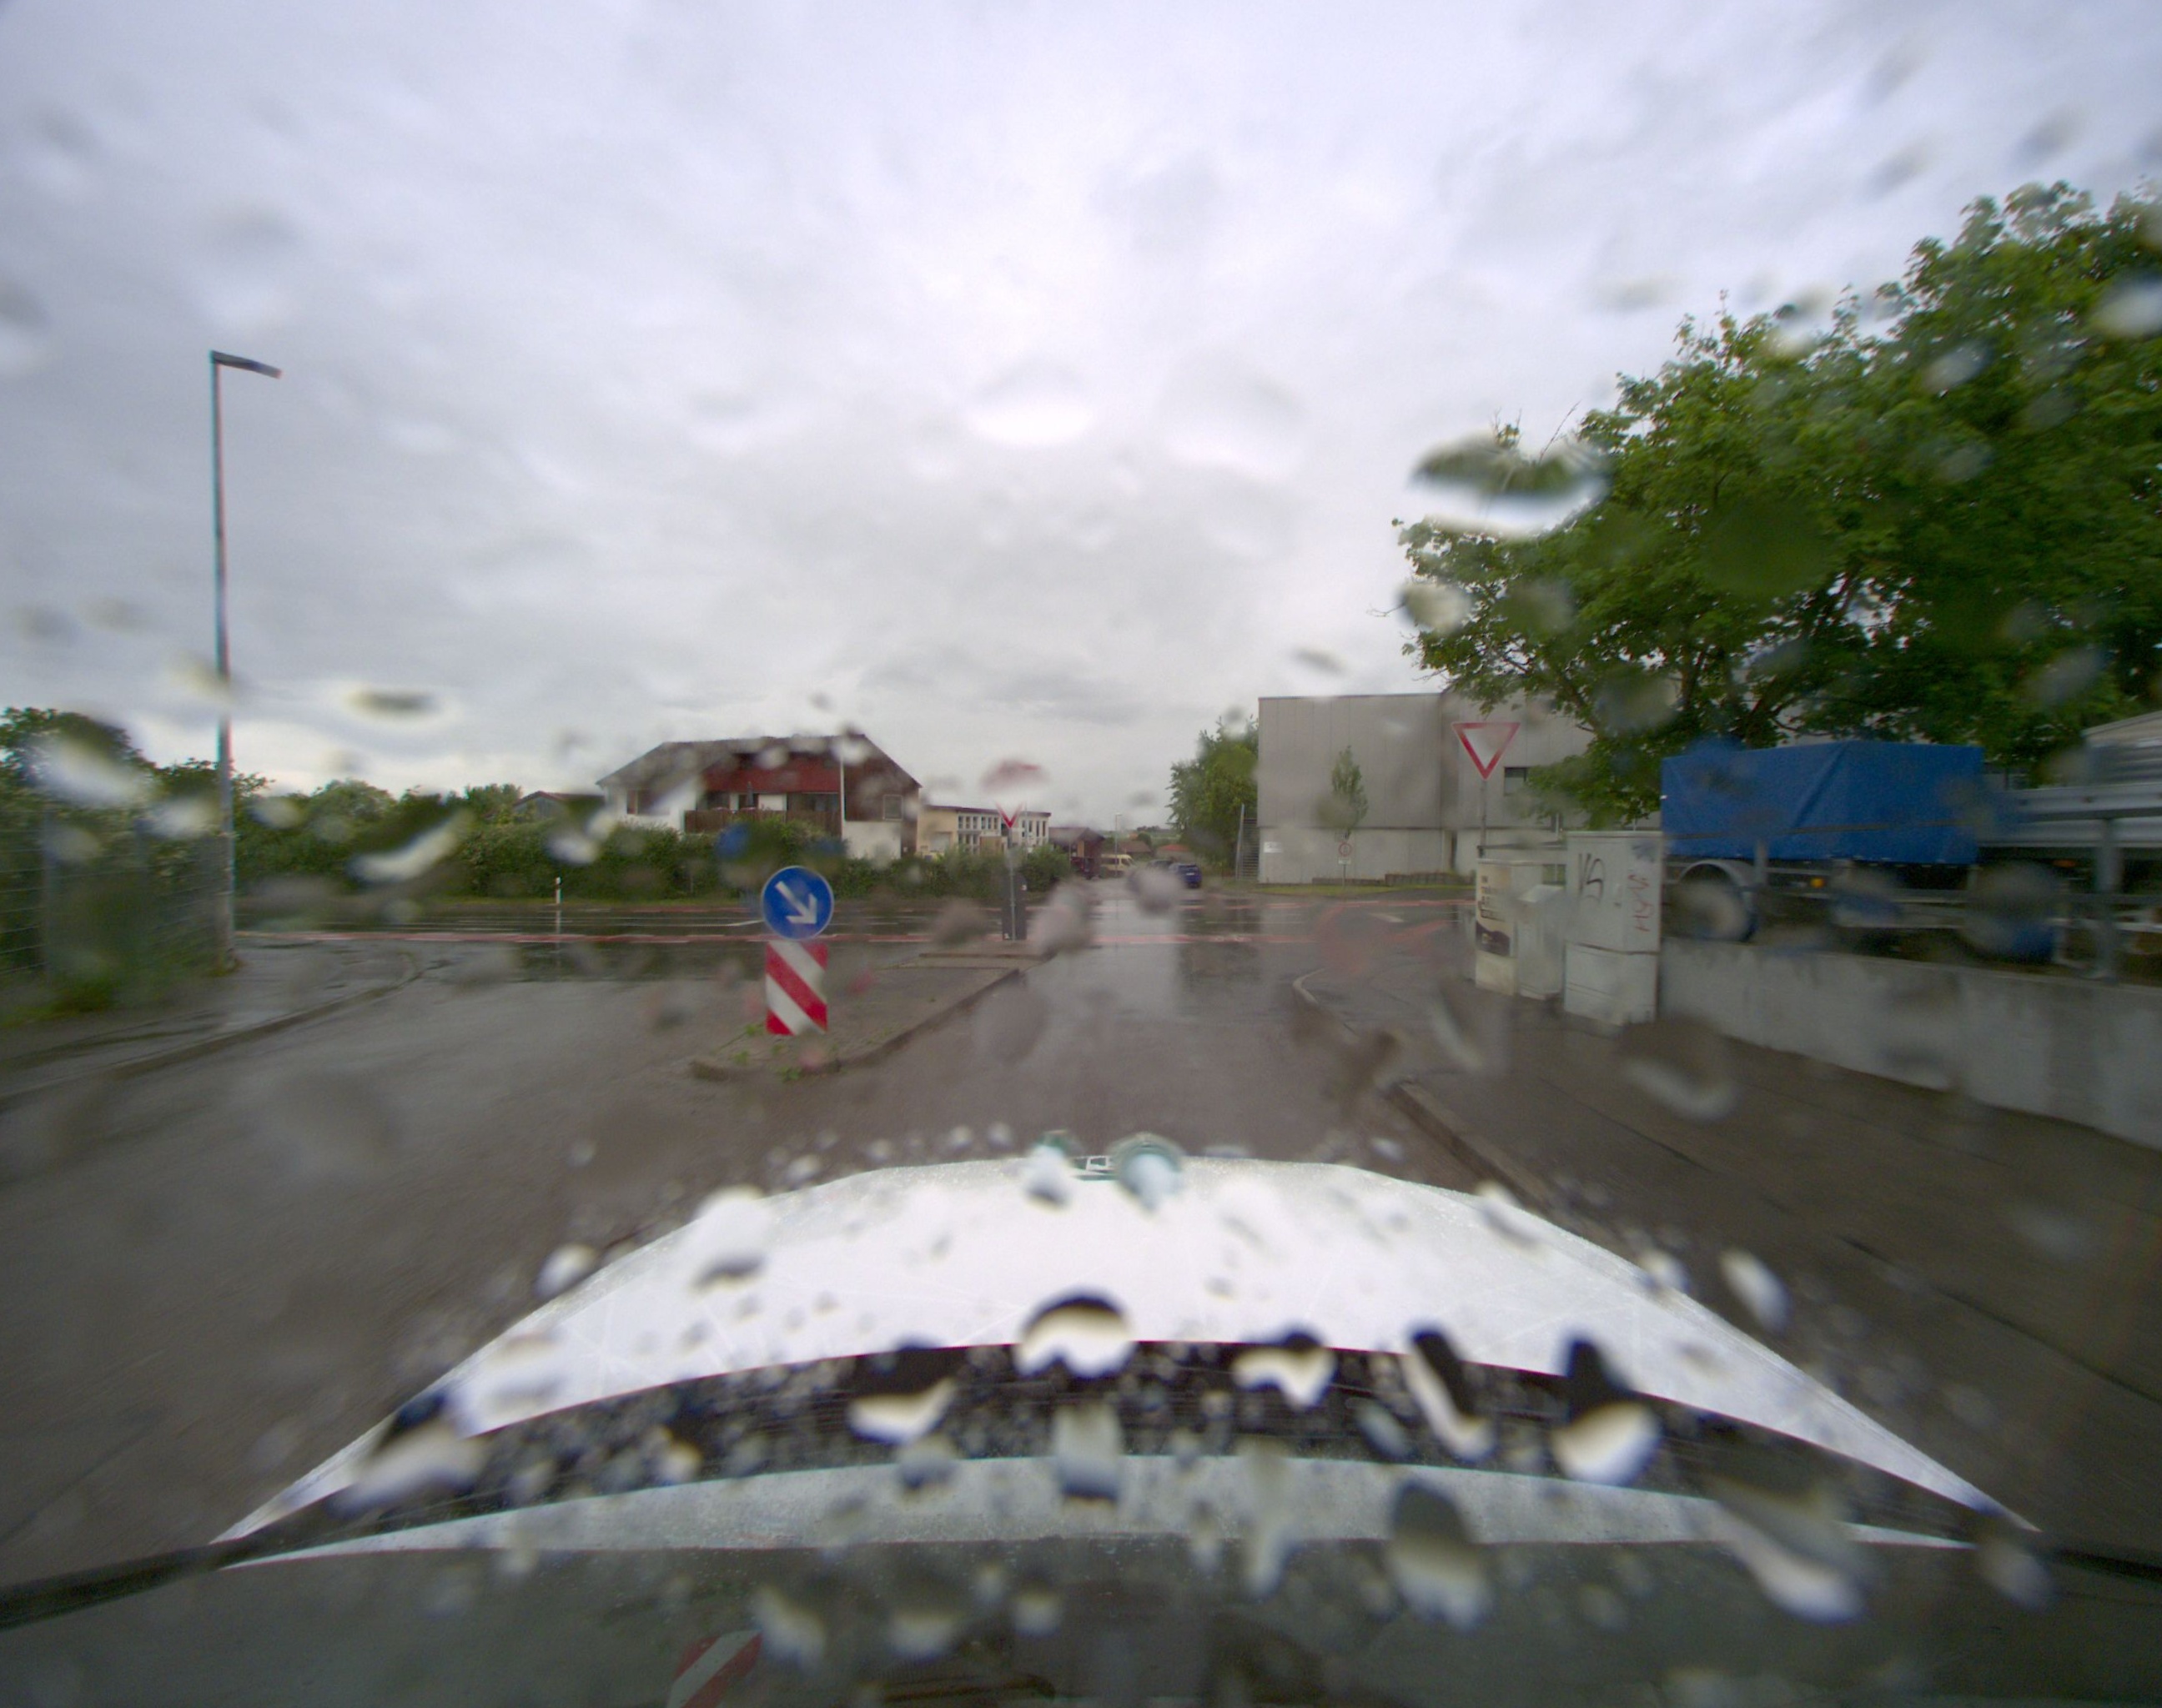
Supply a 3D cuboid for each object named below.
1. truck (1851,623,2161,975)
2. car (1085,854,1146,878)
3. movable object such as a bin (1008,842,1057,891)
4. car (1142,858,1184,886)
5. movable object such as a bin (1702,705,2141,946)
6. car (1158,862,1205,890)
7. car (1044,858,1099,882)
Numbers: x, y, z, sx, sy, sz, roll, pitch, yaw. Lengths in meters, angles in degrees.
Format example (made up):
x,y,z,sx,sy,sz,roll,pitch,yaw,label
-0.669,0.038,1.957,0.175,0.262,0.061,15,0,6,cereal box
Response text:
x,y,z,sx,sy,sz,roll,pitch,yaw,label
7.827,-0.370,4.383,2.098,2.214,5.654,-1,-1,2,truck
3.621,1.321,85.648,5.959,2.415,2.475,-1,-1,19,car
-2.628,0.687,44.649,1.720,2.557,3.352,-1,-1,14,movable object such as a bin
5.648,1.236,56.697,2.070,1.835,4.462,0,-1,-5,car
6.044,-0.166,6.079,1.305,1.500,1.854,0,-1,-7,movable object such as a bin
6.159,1.344,50.313,1.949,1.610,4.437,0,-1,-6,car
-0.804,1.350,68.170,4.354,1.905,2.012,-2,-2,42,car
